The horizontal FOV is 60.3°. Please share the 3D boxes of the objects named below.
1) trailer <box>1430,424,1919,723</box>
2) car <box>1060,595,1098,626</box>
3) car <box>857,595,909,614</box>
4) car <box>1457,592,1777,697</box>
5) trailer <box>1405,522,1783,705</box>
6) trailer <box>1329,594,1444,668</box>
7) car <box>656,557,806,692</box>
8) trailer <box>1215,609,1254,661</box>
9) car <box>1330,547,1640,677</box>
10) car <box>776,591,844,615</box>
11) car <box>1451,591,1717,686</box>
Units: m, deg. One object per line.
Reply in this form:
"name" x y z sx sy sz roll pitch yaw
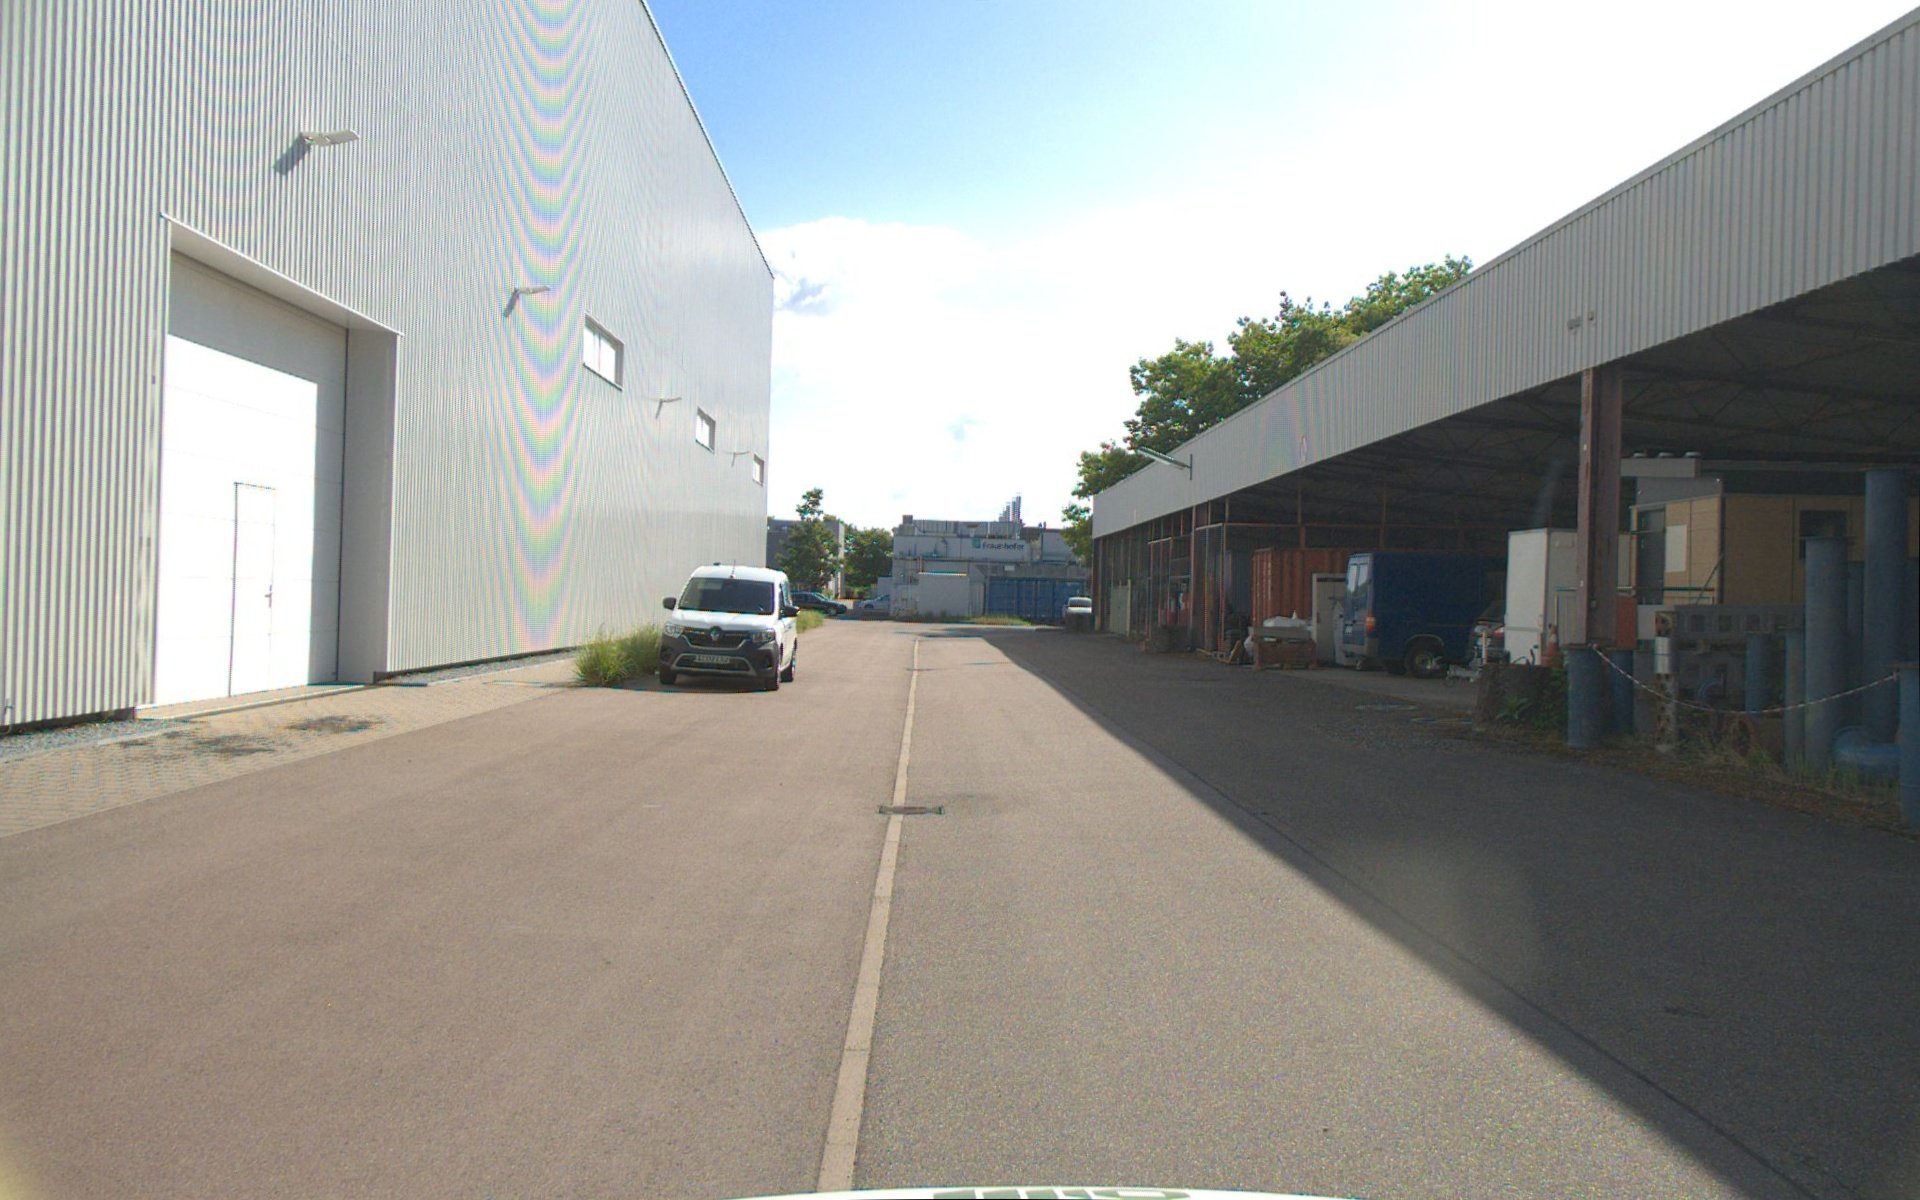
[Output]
"trailer" 11.183 -0.320 20.320 10.059 3.401 2.800 0 0 -1
"car" 6.865 0.581 95.792 1.939 1.630 4.377 0 1 0
"car" -6.270 0.364 135.786 4.216 1.483 1.823 0 0 -2
"car" 9.989 0.655 25.339 4.165 1.497 1.868 1 0 -5
"trailer" 8.604 0.181 22.745 4.424 2.383 2.047 0 -1 -1
"trailer" 8.772 0.616 34.158 1.996 1.492 1.739 0 0 3
"car" -3.488 0.364 26.002 1.747 1.847 4.600 3 0 -1
"trailer" 6.162 0.776 37.196 0.541 1.138 1.546 0 0 -3
"car" 9.936 0.230 31.579 5.225 2.321 2.152 1 -1 -2
"car" -9.757 0.202 107.791 4.358 1.558 1.823 0 0 -2
"car" 10.672 0.646 28.443 3.886 1.540 1.838 1 -1 -5
